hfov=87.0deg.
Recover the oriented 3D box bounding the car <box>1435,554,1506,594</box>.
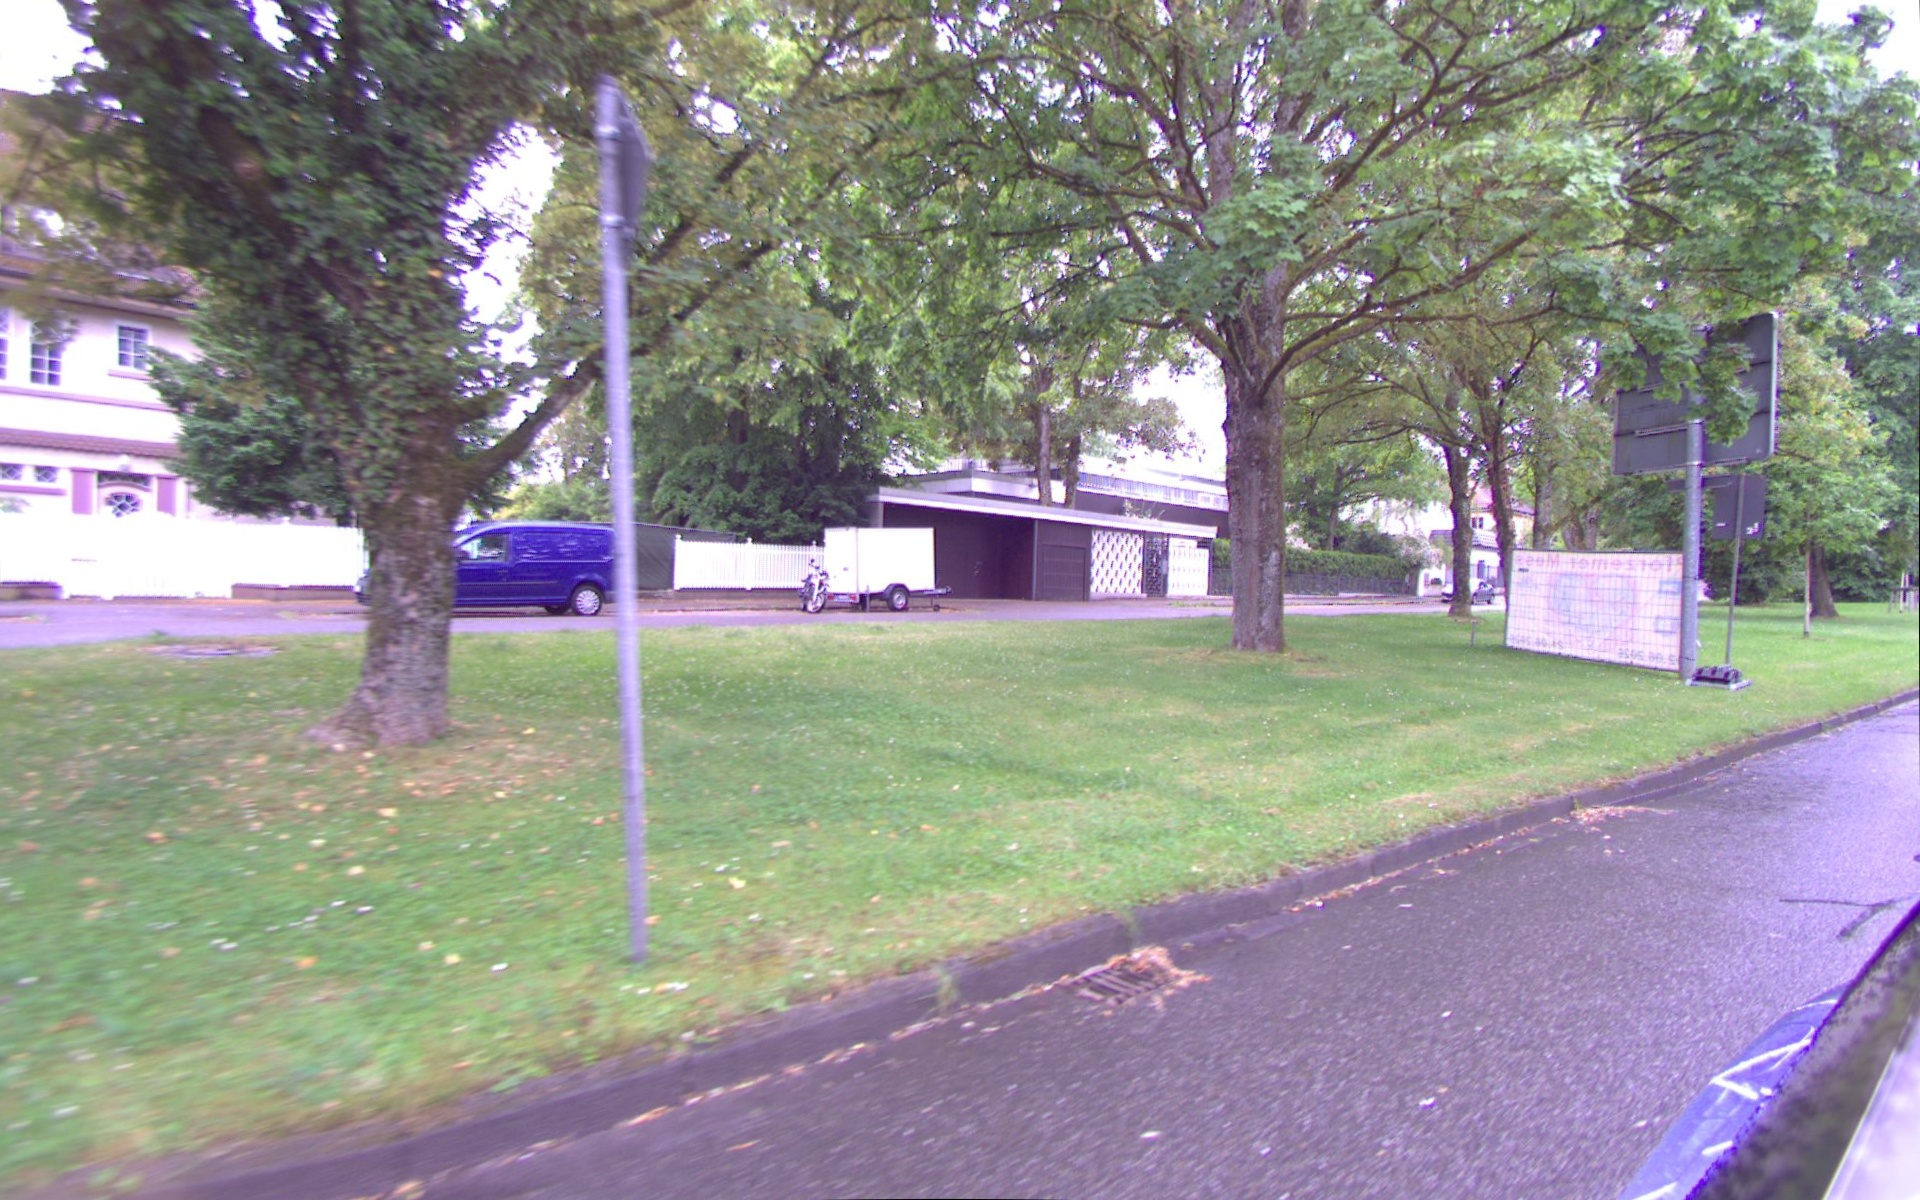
[{"bbox_3d":[27.497,-1.381,54.474,3.930,2.038,1.998,0,3,-41],"label":"car"}]

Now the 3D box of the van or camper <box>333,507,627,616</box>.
[{"bbox_3d":[-9.019,-0.675,19.310,1.994,1.831,4.699,0,0,45],"label":"van or camper"}]

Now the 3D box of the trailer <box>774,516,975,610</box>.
[{"bbox_3d":[-2.061,-0.881,25.639,5.106,2.143,1.768,-1,0,-43],"label":"trailer"}]

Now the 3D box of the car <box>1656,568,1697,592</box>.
[{"bbox_3d":[61.814,-1.720,87.261,3.930,2.039,1.997,-1,0,-41],"label":"car"}]

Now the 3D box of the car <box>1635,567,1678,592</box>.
[{"bbox_3d":[57.139,-1.655,83.027,3.930,2.039,1.997,-1,0,-41],"label":"car"}]
